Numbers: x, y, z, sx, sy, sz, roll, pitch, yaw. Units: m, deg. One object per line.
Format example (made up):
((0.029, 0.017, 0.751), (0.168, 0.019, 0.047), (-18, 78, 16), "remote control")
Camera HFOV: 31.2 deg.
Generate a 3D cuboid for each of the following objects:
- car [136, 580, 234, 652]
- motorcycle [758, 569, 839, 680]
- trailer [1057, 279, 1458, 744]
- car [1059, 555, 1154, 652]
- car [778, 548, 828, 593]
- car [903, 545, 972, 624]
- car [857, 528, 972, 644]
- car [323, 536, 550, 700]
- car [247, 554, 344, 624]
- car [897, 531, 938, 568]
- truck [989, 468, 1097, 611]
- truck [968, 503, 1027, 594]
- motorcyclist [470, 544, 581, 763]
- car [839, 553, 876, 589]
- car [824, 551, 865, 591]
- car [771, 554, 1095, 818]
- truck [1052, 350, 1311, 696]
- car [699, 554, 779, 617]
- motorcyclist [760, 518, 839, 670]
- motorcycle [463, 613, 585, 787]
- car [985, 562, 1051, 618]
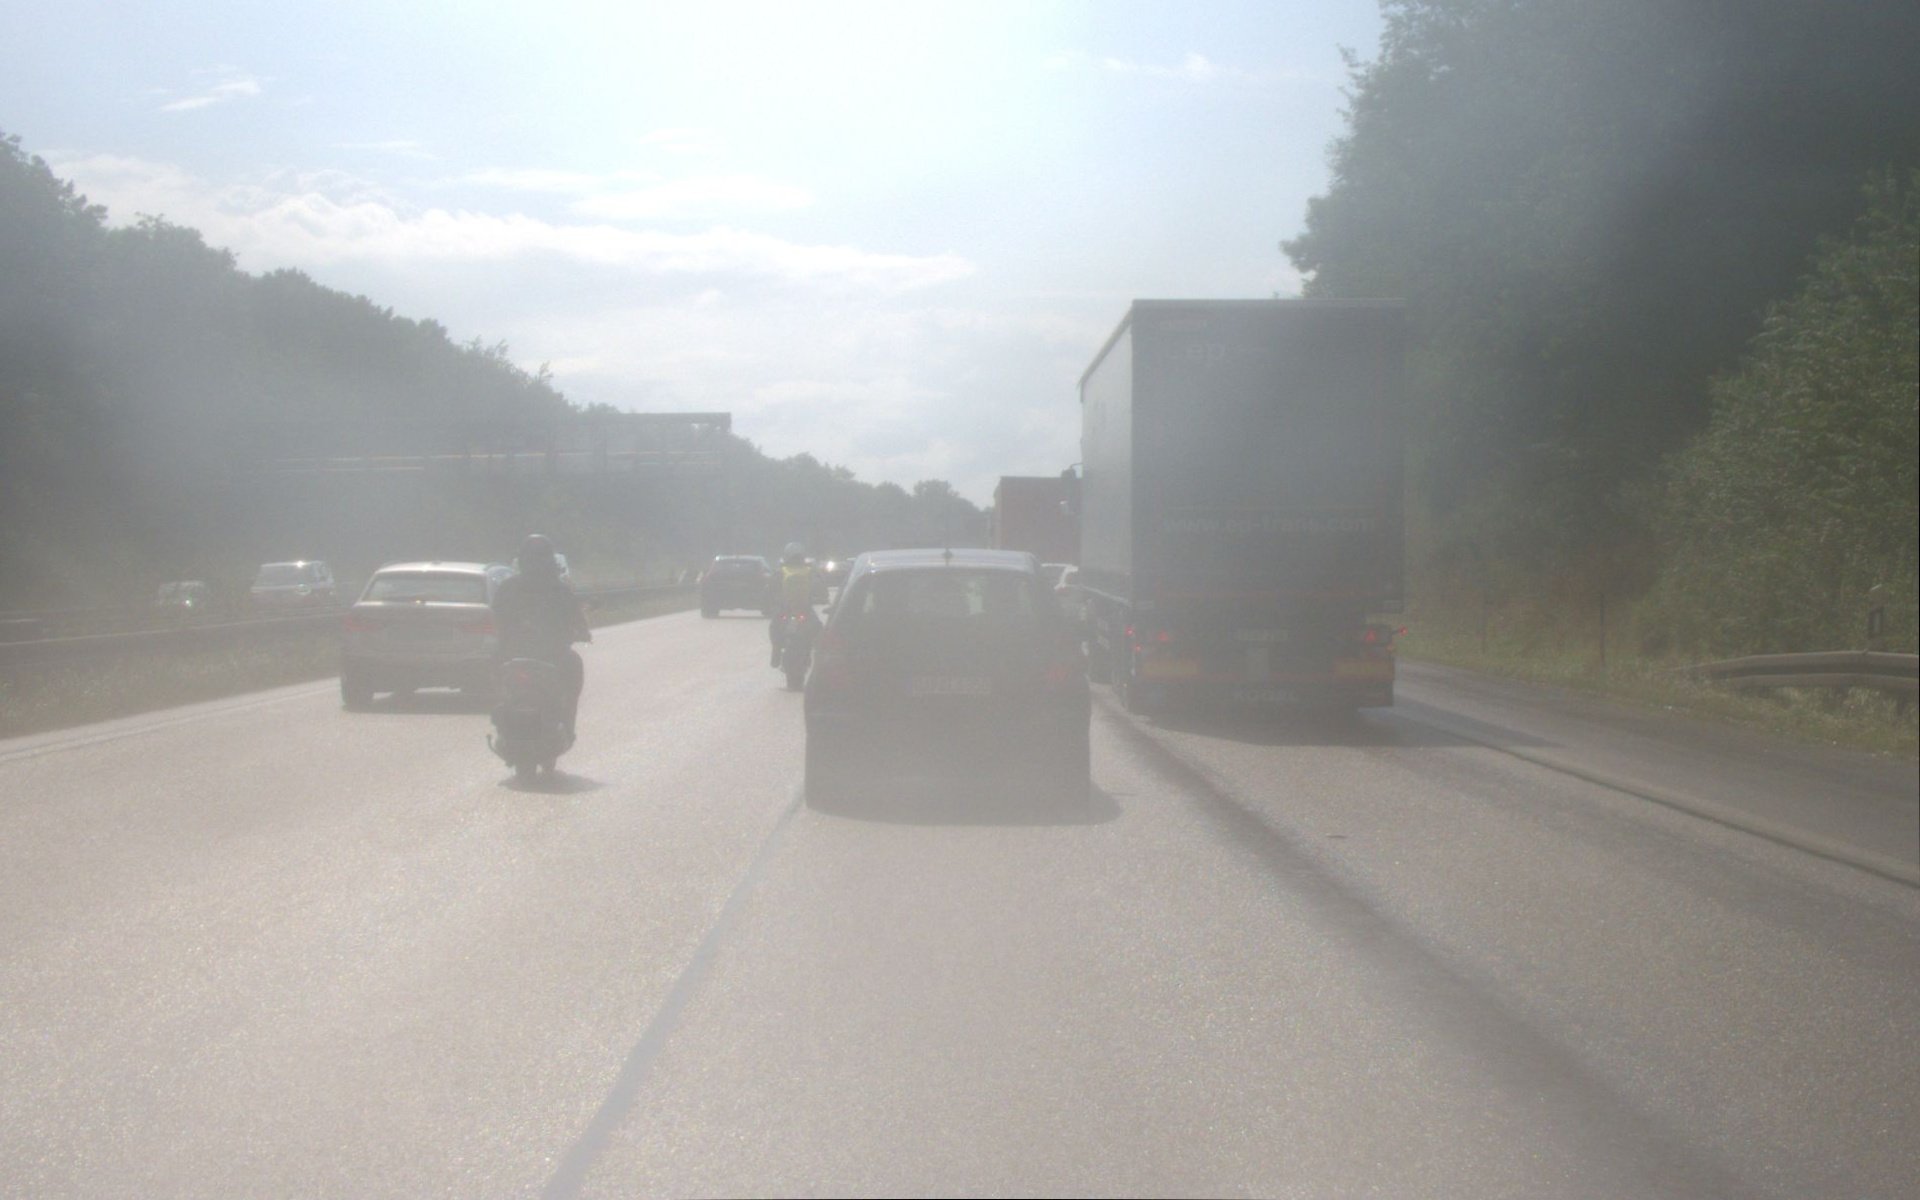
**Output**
((-22.518, 0.435, 100.018), (1.993, 2.007, 4.000), (0, 1, 0), "car")
((-1.896, 0.273, 40.606), (0.819, 1.258, 2.117), (1, 1, 1), "motorcycle")
((2.966, -0.899, 38.995), (3.088, 4.298, 14.106), (0, 1, -1), "trailer")
((3.117, 0.064, 73.963), (1.849, 2.007, 4.087), (1, 0, 0), "car")
((-5.655, -1.054, 123.926), (1.675, 1.591, 3.437), (0, 1, -1), "car")
((-0.573, -0.392, 85.870), (1.675, 1.929, 3.773), (0, 1, -1), "car")
((-0.841, -0.259, 62.575), (1.993, 2.007, 4.000), (1, 0, -1), "car")
((-5.395, 0.136, 35.891), (1.758, 1.589, 4.331), (0, 1, -1), "car")
((-18.872, -0.332, 97.778), (1.924, 1.905, 4.289), (-1, 1, 0), "car")
((-1.754, -2.054, 141.346), (1.631, 1.485, 3.437), (0, 1, -1), "car")
((2.585, -1.914, 110.594), (3.202, 4.389, 9.432), (0, 1, 0), "truck")
((1.954, -2.683, 184.466), (2.882, 4.671, 12.659), (1, 0, -1), "truck")
((-2.927, 0.352, 23.226), (0.670, 1.437, 1.020), (1, 0, -4), "motorcyclist")
((-5.828, -1.635, 195.887), (1.993, 2.007, 4.000), (1, 0, -1), "car")
((-5.851, -1.479, 175.008), (1.993, 2.007, 4.000), (1, 0, -1), "car")
((-0.194, 0.488, 22.566), (1.915, 1.560, 4.314), (0, 1, -1), "car")
((2.864, -0.983, 46.155), (3.052, 4.310, 5.886), (1, 0, 0), "truck")
((-5.827, -0.403, 90.878), (1.893, 1.622, 4.195), (0, 1, -1), "car")
((-1.887, -0.075, 40.577), (0.821, 1.755, 1.390), (1, 0, 1), "motorcyclist")
((-2.933, 0.651, 23.270), (0.676, 1.083, 1.982), (1, 1, -4), "motorcycle")
((1.551, -0.280, 93.293), (1.675, 1.485, 3.437), (0, 1, -1), "car")
